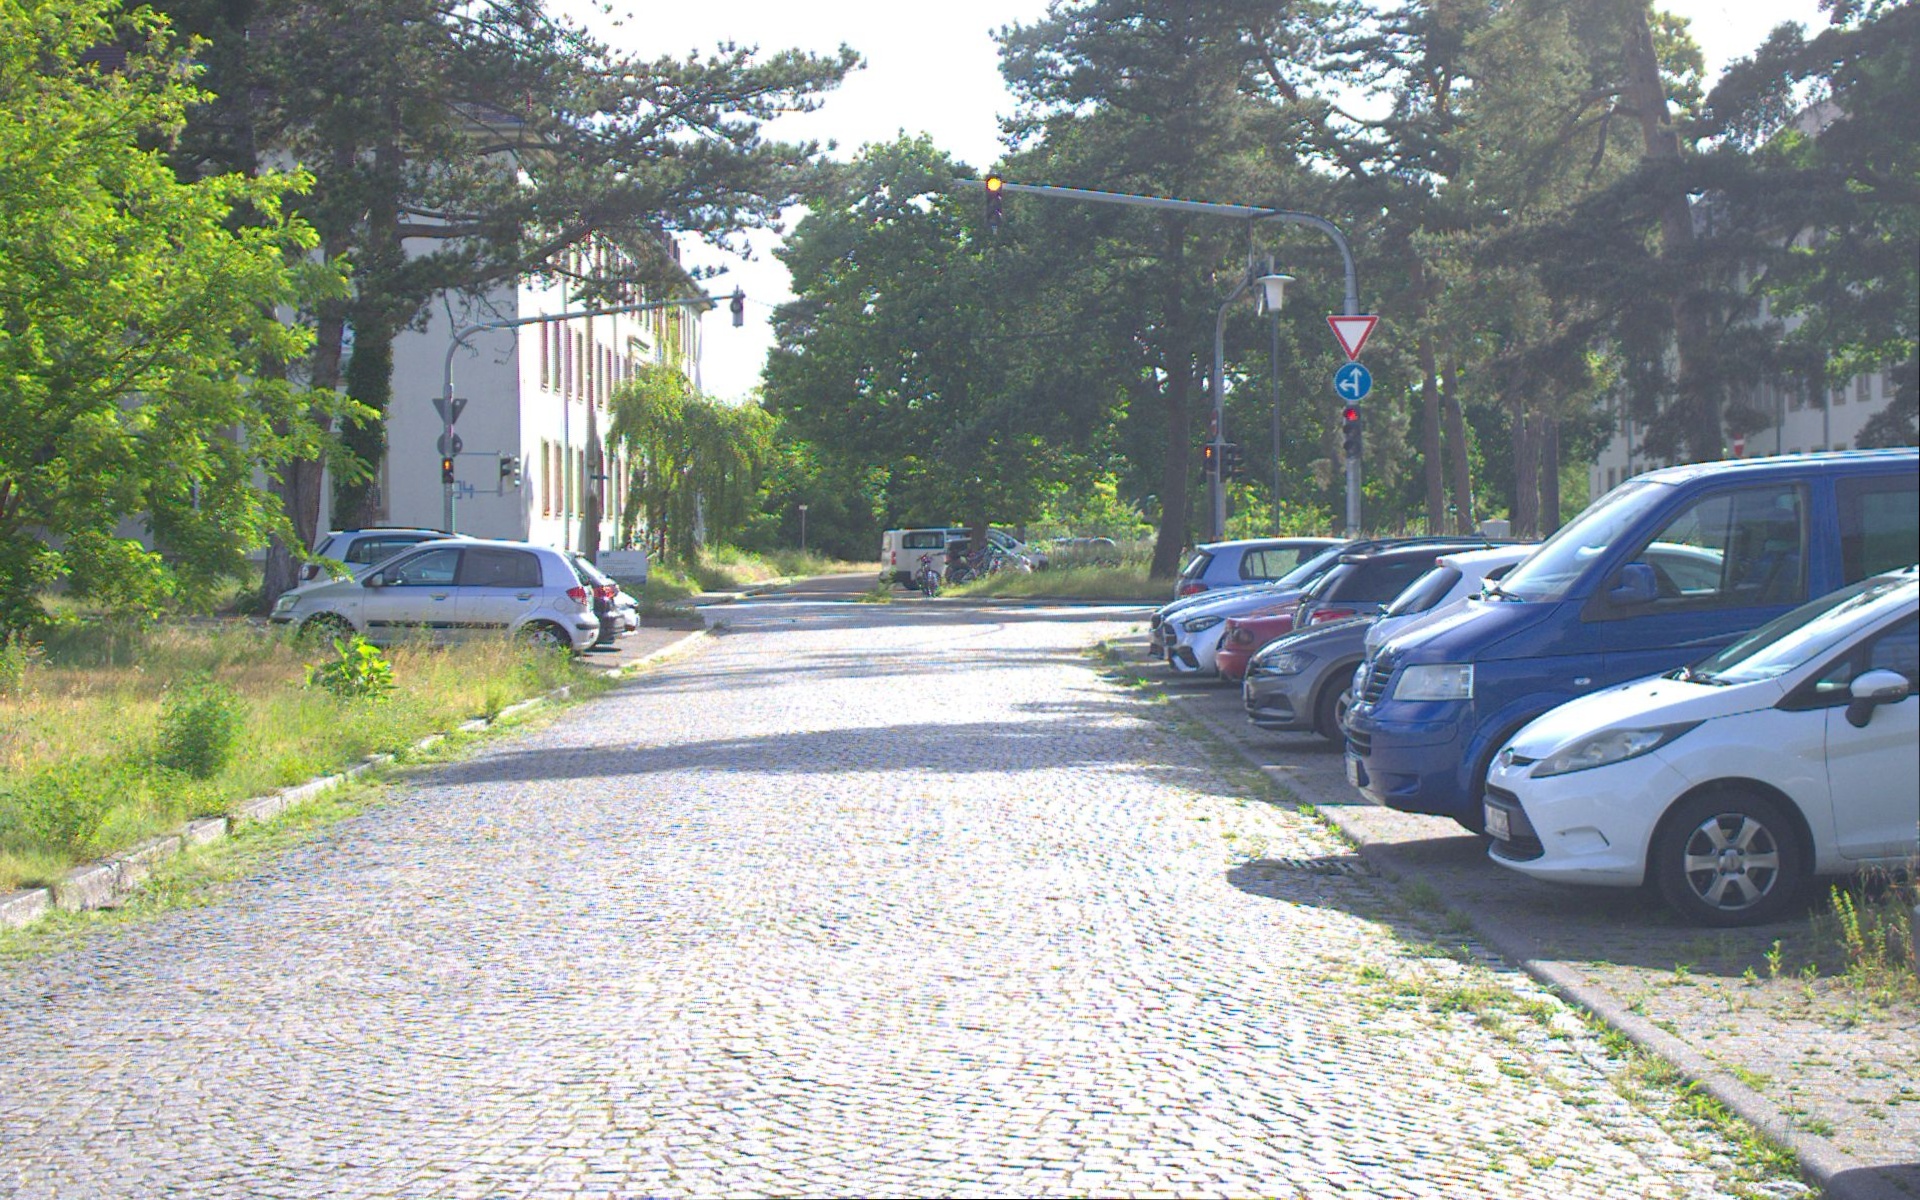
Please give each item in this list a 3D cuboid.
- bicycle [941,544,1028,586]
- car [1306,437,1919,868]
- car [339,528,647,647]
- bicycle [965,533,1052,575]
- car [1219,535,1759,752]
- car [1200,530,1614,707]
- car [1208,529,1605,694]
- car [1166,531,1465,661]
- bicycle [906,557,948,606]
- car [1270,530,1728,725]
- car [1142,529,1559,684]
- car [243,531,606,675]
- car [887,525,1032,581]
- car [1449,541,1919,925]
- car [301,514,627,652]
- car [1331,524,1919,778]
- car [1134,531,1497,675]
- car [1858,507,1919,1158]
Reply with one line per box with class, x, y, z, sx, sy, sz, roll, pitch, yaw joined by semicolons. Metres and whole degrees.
bicycle;0.634;-0.908;89.919;2.172;1.096;0.807;0;1;-10
car;4.233;0.212;17.298;4.676;2.007;2.084;-1;1;-3
car;-6.473;-0.191;47.948;3.987;1.448;2.000;2;1;-1
bicycle;1.280;-1.218;91.118;2.172;1.096;0.807;0;1;-10
car;3.842;0.294;25.367;3.675;1.462;1.645;-1;1;-1
car;3.978;0.144;30.976;3.478;1.524;1.646;-1;1;-1
car;4.298;0.091;33.436;3.602;1.524;1.646;-1;1;-1
car;4.195;-0.064;40.926;3.343;1.477;1.646;-1;1;-1
bicycle;-0.836;-0.464;86.467;0.804;1.165;2.181;-2;1;-6
car;4.384;0.199;28.284;3.478;1.524;1.646;-1;1;-1
car;3.993;0.050;35.515;4.033;1.524;1.646;-1;1;-4
car;-6.192;0.010;40.159;3.986;1.595;2.000;-1;1;-3
car;-0.028;-1.464;107.386;4.480;1.722;2.000;0;1;-1
car;4.091;0.502;14.624;3.718;1.483;1.646;-1;1;-2
car;-6.523;-0.242;45.546;3.987;1.596;2.000;3;1;-1
car;4.385;0.302;22.478;3.694;1.460;1.645;-2;1;1
car;3.916;0.015;38.287;3.835;1.524;1.646;-1;1;-1
car;4.356;0.569;8.204;3.935;1.616;1.772;-1;1;-1
